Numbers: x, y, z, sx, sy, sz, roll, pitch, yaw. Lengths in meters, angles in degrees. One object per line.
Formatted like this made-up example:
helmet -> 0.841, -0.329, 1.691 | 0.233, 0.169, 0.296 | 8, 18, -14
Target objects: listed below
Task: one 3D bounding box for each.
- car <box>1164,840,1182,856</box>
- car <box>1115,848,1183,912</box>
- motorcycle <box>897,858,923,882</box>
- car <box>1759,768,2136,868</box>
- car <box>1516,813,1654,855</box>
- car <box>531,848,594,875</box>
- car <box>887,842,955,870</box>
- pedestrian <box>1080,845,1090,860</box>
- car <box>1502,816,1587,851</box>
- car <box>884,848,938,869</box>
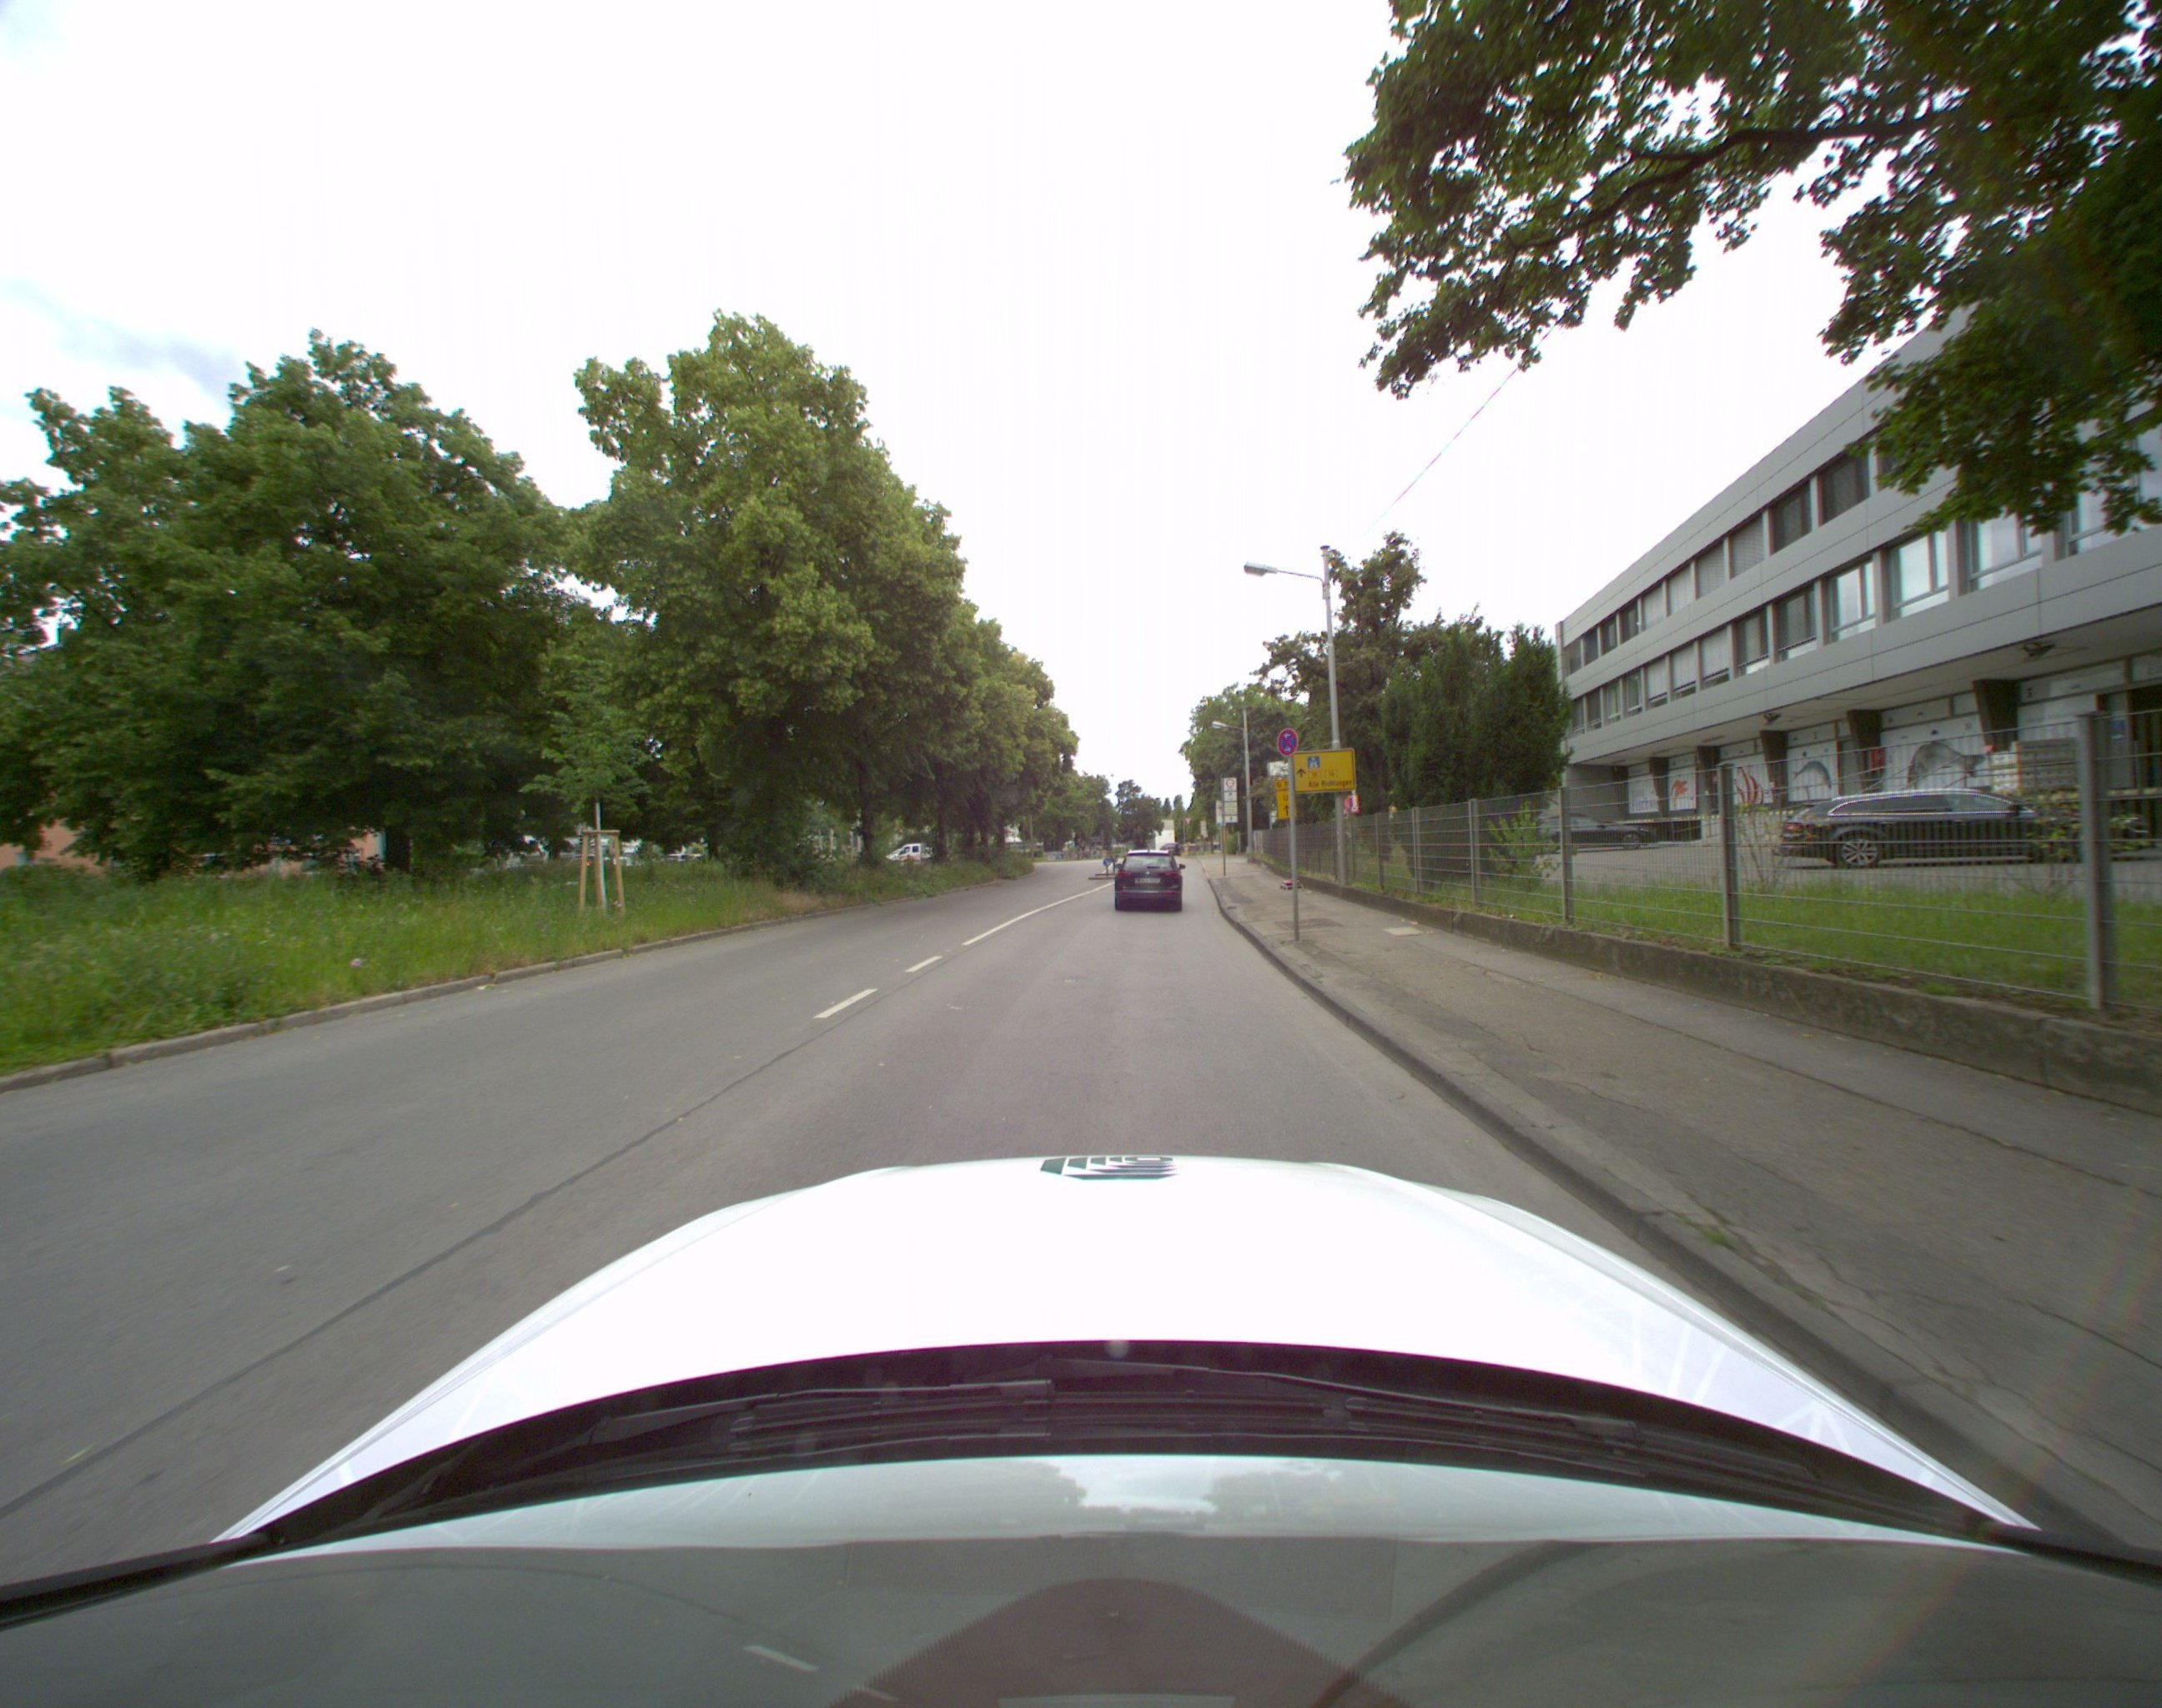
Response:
car -> 9.705, -0.679, 85.681 | 1.649, 1.574, 3.838 | -3, 0, 9
car -> 1.930, 0.649, 22.793 | 1.730, 1.618, 3.647 | -1, 0, 5
motorcycle -> -9.001, 0.813, 42.957 | 0.562, 1.168, 2.042 | -3, 1, 10
car -> 16.095, -0.592, 15.508 | 2.011, 1.474, 4.636 | -3, -1, -43
car -> 21.230, -0.836, 34.414 | 4.797, 1.534, 2.036 | -2, 1, 35
car -> -29.225, 0.395, 45.957 | 1.551, 1.349, 2.882 | -3, 1, 3
car -> -15.688, 0.173, 80.158 | 6.050, 2.387, 2.395 | -3, 1, 0
pedestrian -> 0.442, -0.174, 92.792 | 0.731, 1.741, 0.735 | -3, 1, -43
car -> 25.505, -1.122, 44.953 | 3.676, 1.674, 1.865 | -2, 1, 12
car -> -17.497, 0.434, 83.961 | 4.945, 1.942, 2.055 | -2, 1, 12
